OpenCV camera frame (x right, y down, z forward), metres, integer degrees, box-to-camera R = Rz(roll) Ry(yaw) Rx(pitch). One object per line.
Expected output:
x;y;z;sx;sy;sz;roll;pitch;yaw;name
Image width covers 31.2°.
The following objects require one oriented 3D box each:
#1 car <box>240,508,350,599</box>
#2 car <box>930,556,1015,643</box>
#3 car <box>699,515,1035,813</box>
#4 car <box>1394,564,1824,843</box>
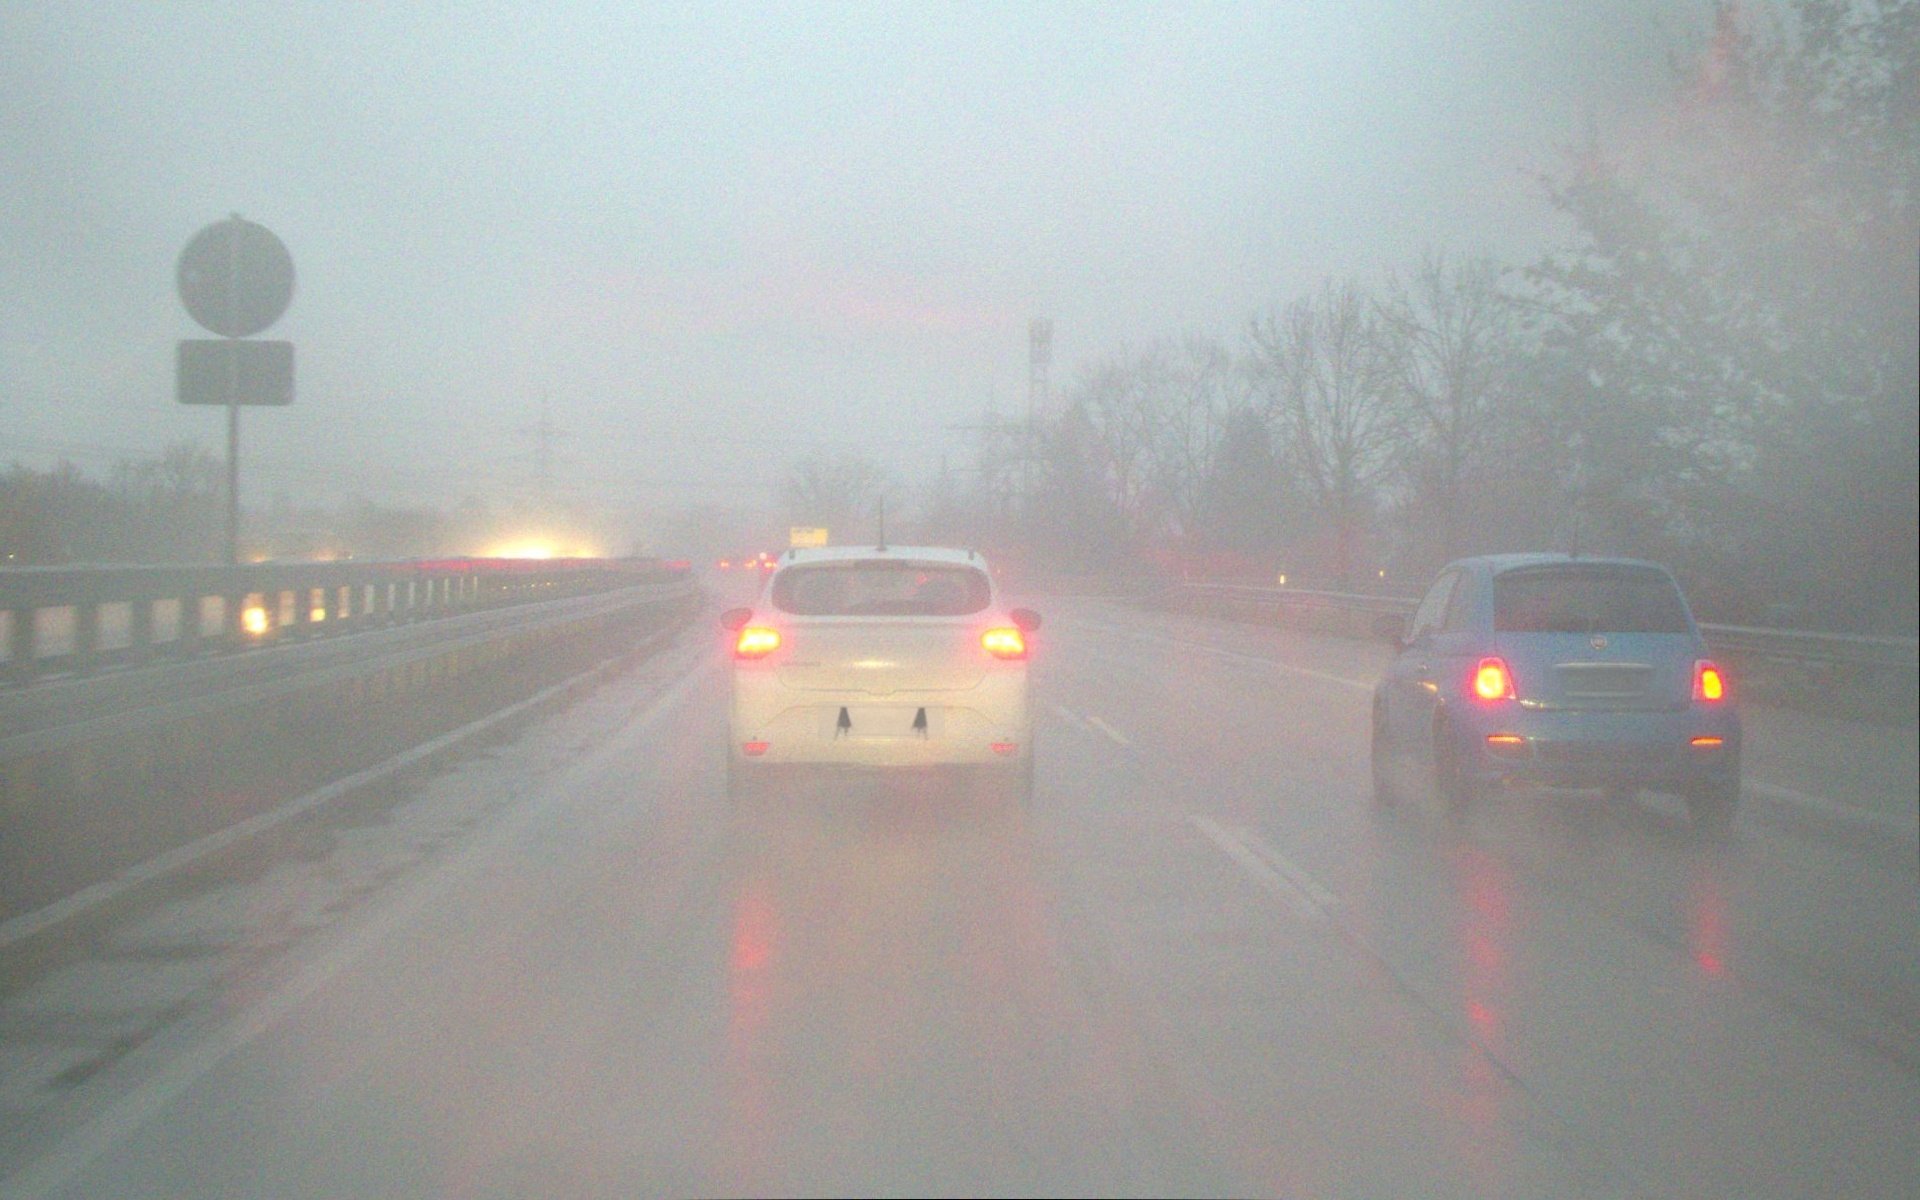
-14.372;-0.999;74.435;1.745;1.827;4.136;3;0;-4;car
0.291;-0.007;85.200;1.873;1.897;4.000;6;0;0;car
-0.492;0.318;20.998;1.845;1.630;3.768;1;1;1;car
3.788;0.541;20.769;1.845;1.448;4.149;1;1;1;car
